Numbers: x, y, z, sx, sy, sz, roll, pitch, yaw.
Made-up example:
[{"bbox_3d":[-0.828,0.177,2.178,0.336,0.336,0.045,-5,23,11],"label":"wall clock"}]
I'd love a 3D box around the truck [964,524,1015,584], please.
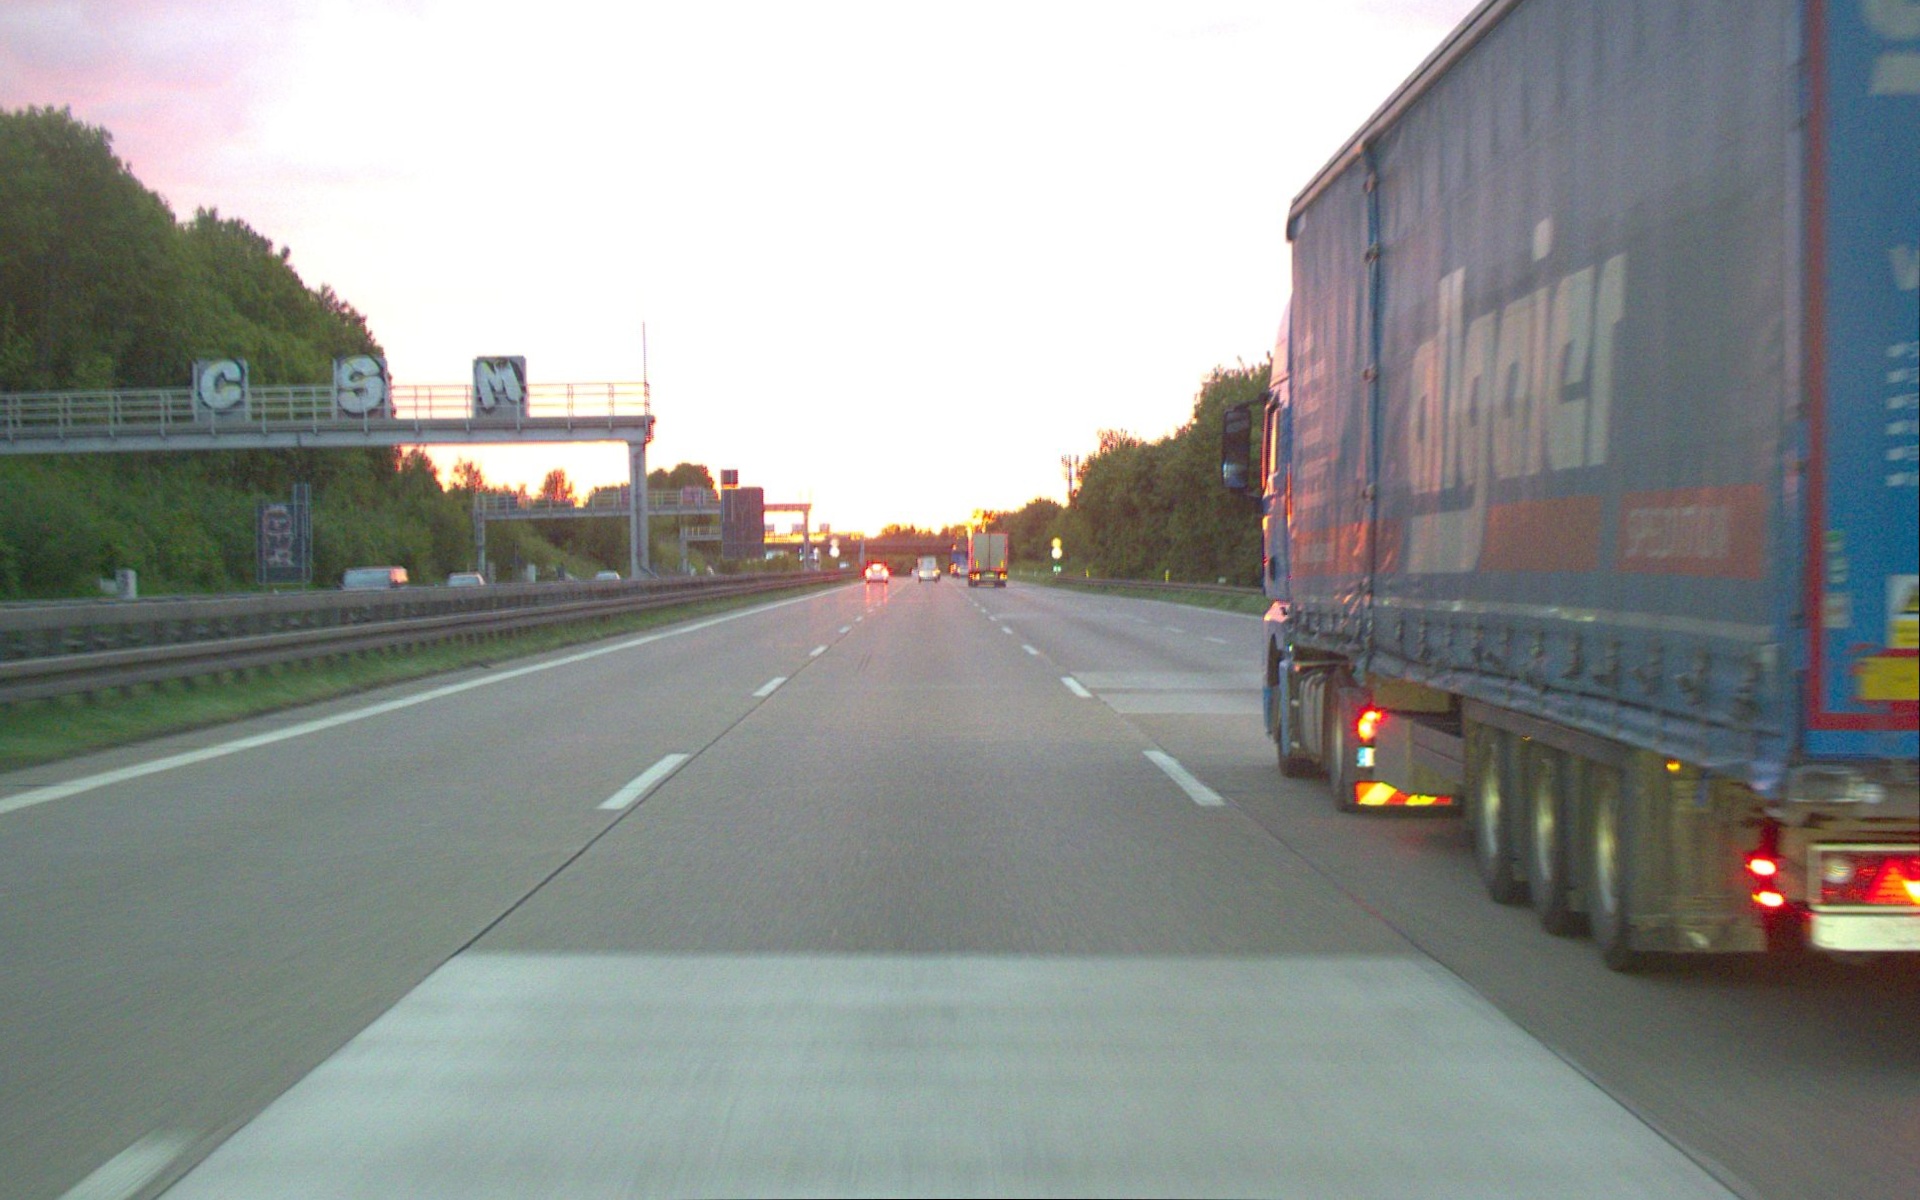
[{"bbox_3d":[2.053,-3.248,244.685,3.244,4.113,9.787,-1,0,-1],"label":"truck"}]

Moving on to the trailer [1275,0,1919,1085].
[{"bbox_3d":[3.588,-0.741,16.417,2.771,4.072,13.740,0,0,0],"label":"trailer"}]

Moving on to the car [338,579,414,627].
[{"bbox_3d":[-21.633,0.077,127.522,1.848,1.728,5.661,0,0,0],"label":"car"}]

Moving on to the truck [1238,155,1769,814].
[{"bbox_3d":[3.533,-0.727,23.798,2.736,3.983,5.849,0,0,0],"label":"truck"}]
